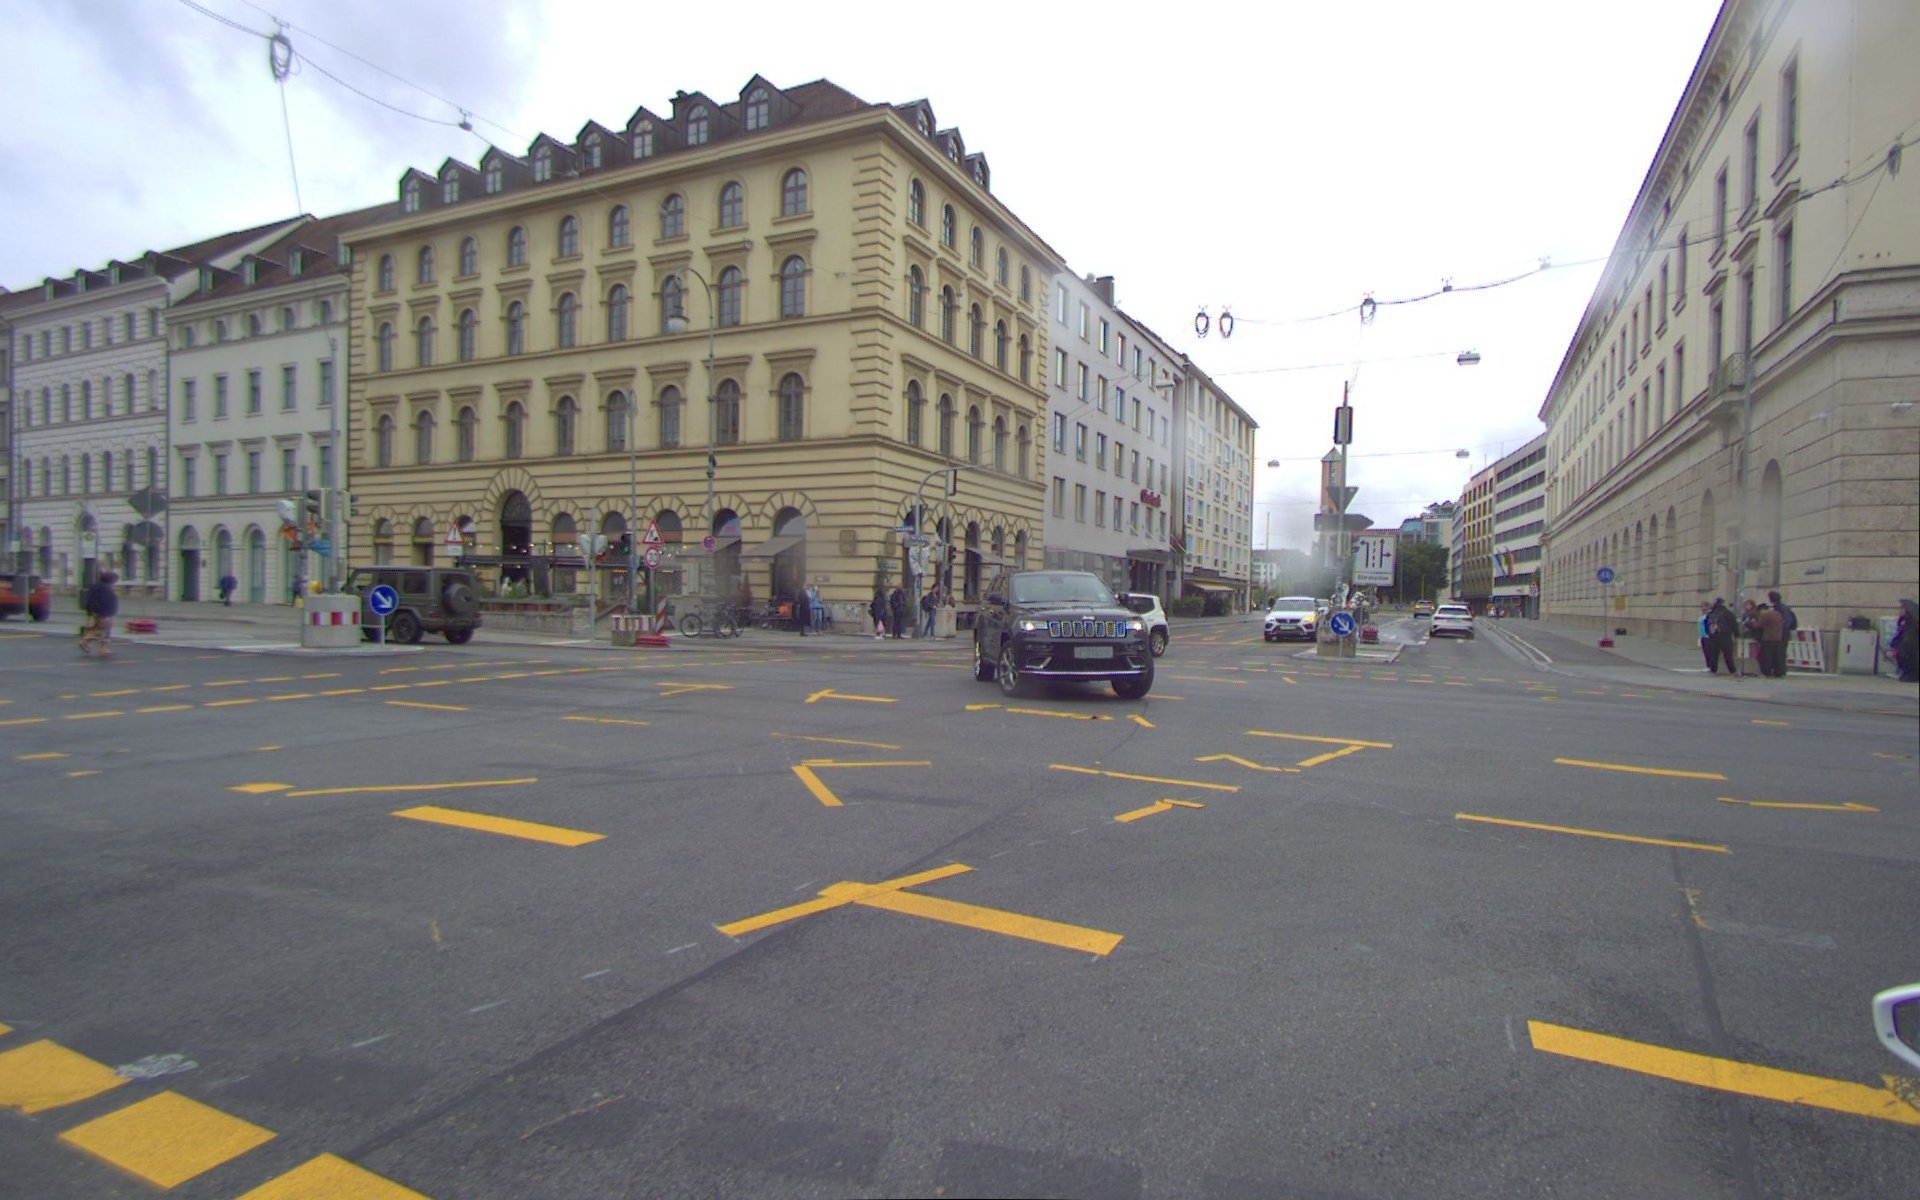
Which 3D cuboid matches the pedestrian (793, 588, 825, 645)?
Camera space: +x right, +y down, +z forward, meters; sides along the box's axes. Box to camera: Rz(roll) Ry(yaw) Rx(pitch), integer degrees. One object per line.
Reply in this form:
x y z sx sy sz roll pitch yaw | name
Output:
-4.948 0.530 32.951 0.721 1.795 0.739 2 1 16 | pedestrian

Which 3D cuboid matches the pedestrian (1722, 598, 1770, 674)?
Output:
18.918 0.857 24.180 0.808 1.779 0.582 3 2 41 | pedestrian

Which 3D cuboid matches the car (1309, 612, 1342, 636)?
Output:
28.501 1.850 78.296 1.962 1.758 4.228 1 0 26 | car

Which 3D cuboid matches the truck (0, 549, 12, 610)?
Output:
-45.002 -0.948 44.980 4.694 2.699 2.219 1 0 27 | truck

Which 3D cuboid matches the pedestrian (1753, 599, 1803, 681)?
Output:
18.328 0.892 22.516 0.811 1.779 0.580 1 1 -33 | pedestrian

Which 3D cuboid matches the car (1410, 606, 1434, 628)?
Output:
43.628 1.583 94.847 1.962 2.041 3.996 1 1 25 | car

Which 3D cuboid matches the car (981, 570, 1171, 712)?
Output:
1.501 0.507 14.877 1.963 1.758 4.582 1 0 -4 | car

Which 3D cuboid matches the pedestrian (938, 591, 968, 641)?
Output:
-0.258 0.582 36.528 0.731 1.795 0.729 1 2 -44 | pedestrian

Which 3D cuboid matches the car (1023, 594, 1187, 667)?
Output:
3.744 0.730 25.625 4.197 1.700 1.779 1 1 -39 | car

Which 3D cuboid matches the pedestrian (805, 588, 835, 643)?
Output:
-4.697 0.525 33.670 0.721 1.795 0.739 2 1 16 | pedestrian

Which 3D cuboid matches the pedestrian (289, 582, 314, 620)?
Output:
-32.082 0.049 48.951 0.722 1.795 0.738 2 1 26 | pedestrian

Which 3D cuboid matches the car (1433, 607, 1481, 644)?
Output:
22.516 1.119 45.590 1.785 1.444 4.448 3 1 25 | car

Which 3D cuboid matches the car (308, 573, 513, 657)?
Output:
-14.393 0.352 26.406 4.360 2.041 2.246 1 1 15 | car

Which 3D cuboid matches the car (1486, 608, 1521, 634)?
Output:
36.908 1.384 68.237 1.836 1.623 3.847 1 1 26 | car

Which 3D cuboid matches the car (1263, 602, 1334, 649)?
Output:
12.375 0.880 36.532 1.962 1.544 4.229 1 0 25 | car

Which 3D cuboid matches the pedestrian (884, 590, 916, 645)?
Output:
-1.992 0.575 33.235 0.734 1.795 0.727 1 2 -43 | pedestrian

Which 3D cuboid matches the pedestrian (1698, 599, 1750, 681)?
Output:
17.296 0.887 22.734 0.808 1.779 0.676 3 2 43 | pedestrian

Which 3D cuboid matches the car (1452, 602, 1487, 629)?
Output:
32.251 0.955 63.644 1.836 1.623 3.847 1 1 26 | car

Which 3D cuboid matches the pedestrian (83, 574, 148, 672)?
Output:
-16.044 0.414 19.084 0.726 1.795 0.734 3 1 32 | pedestrian

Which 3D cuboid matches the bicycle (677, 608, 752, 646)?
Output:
-7.651 0.842 31.367 2.155 1.114 0.600 1 0 2 | bicycle

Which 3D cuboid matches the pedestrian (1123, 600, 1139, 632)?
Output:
9.869 0.908 57.957 0.725 1.795 0.735 3 1 26 | pedestrian

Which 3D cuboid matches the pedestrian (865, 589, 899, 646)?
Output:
-2.540 0.565 32.739 0.755 1.795 0.727 1 2 -43 | pedestrian

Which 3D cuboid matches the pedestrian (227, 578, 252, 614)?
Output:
-36.115 -0.190 50.346 0.722 1.795 0.738 2 1 26 | pedestrian

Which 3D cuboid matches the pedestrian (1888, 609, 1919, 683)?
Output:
20.526 0.978 21.580 0.656 1.548 0.818 3 1 33 | pedestrian

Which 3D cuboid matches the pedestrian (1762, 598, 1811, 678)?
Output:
18.949 0.859 23.029 0.811 1.779 0.580 1 1 -33 | pedestrian

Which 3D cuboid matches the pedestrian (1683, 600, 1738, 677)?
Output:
17.964 0.912 24.063 0.804 1.779 0.585 2 1 -4 | pedestrian

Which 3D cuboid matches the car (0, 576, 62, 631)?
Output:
-32.381 0.072 33.851 3.925 1.743 1.821 1 1 27 | car
